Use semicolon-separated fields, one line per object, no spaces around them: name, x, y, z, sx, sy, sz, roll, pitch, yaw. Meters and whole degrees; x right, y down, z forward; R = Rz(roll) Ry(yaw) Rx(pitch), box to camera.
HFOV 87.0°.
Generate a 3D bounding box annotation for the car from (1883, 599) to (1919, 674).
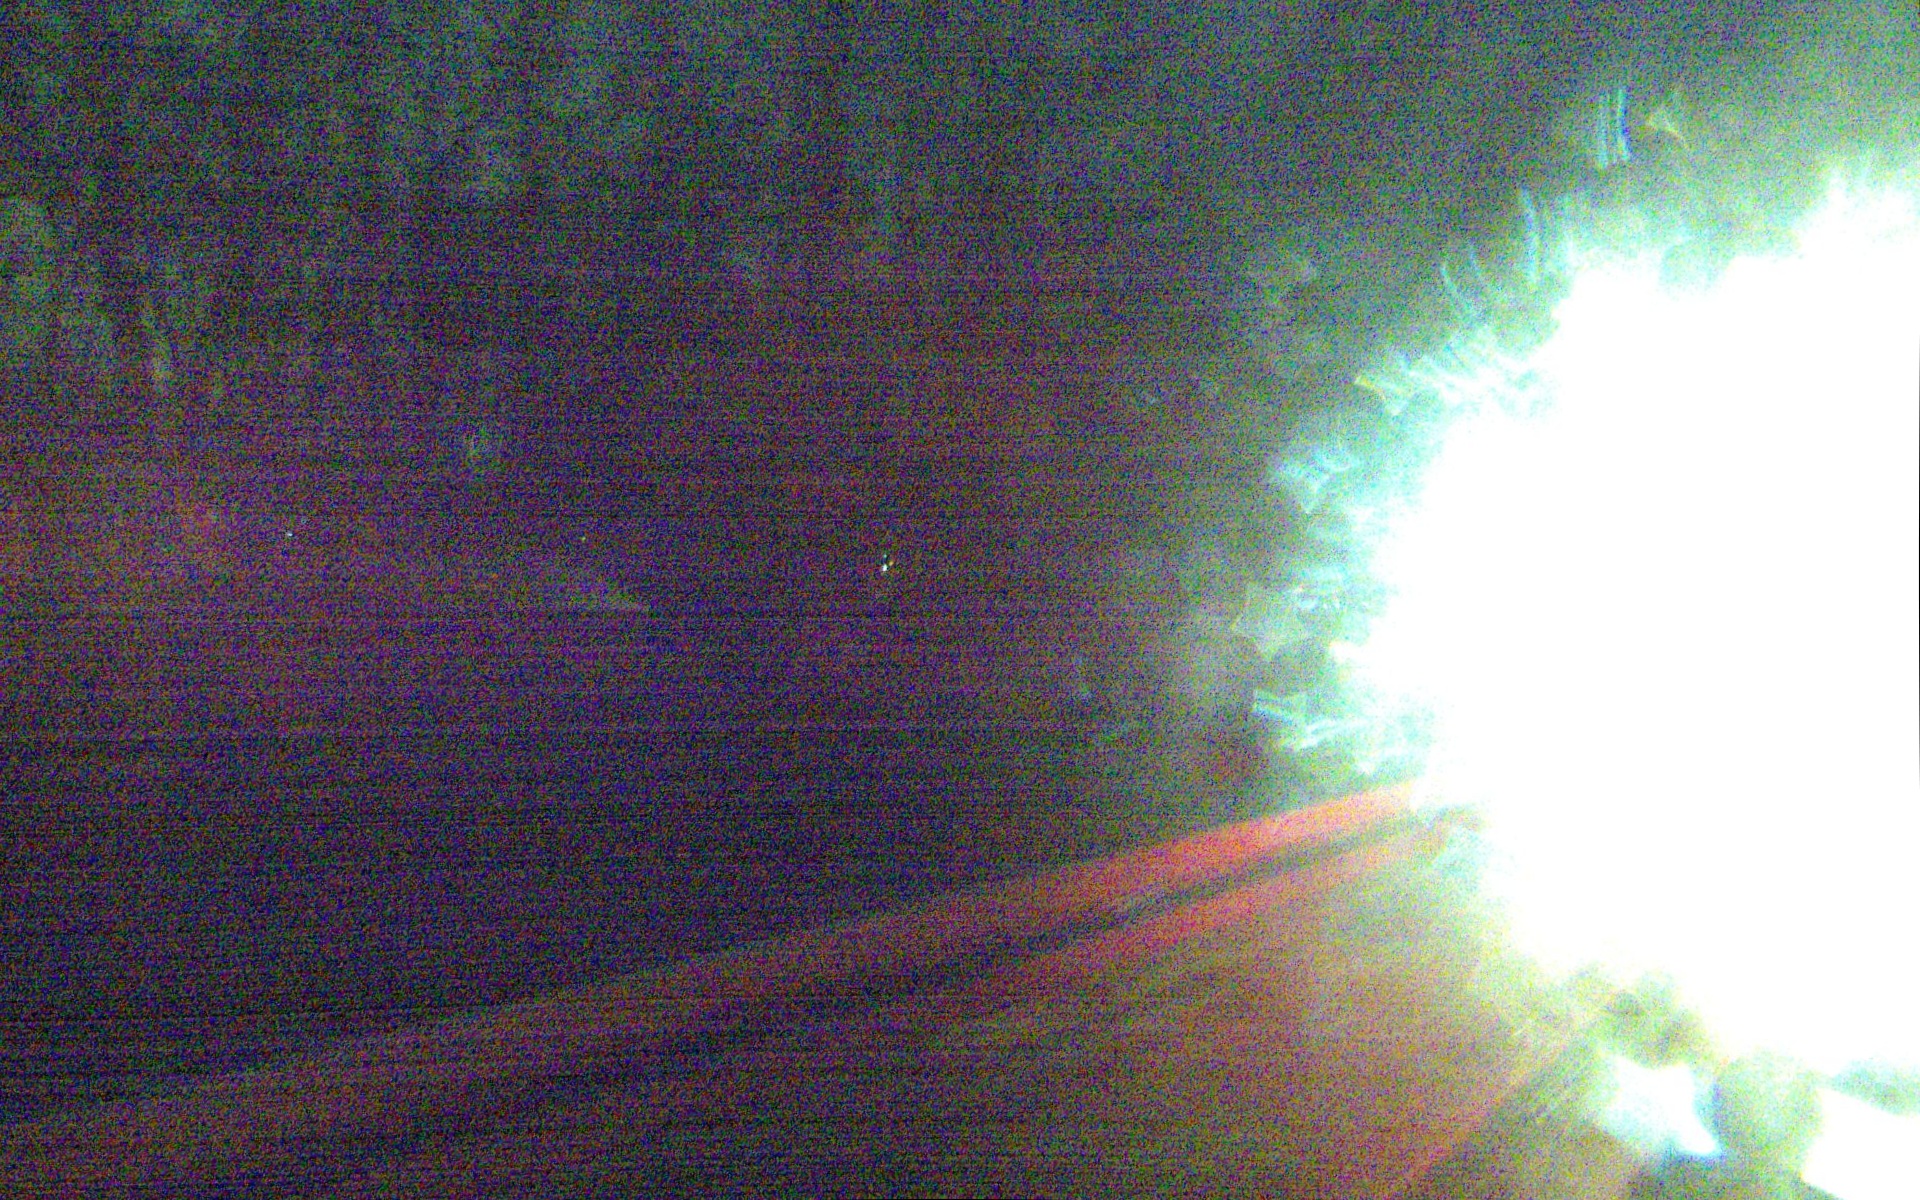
car;20.910;0.740;21.507;1.843;1.467;3.940;0;1;42
